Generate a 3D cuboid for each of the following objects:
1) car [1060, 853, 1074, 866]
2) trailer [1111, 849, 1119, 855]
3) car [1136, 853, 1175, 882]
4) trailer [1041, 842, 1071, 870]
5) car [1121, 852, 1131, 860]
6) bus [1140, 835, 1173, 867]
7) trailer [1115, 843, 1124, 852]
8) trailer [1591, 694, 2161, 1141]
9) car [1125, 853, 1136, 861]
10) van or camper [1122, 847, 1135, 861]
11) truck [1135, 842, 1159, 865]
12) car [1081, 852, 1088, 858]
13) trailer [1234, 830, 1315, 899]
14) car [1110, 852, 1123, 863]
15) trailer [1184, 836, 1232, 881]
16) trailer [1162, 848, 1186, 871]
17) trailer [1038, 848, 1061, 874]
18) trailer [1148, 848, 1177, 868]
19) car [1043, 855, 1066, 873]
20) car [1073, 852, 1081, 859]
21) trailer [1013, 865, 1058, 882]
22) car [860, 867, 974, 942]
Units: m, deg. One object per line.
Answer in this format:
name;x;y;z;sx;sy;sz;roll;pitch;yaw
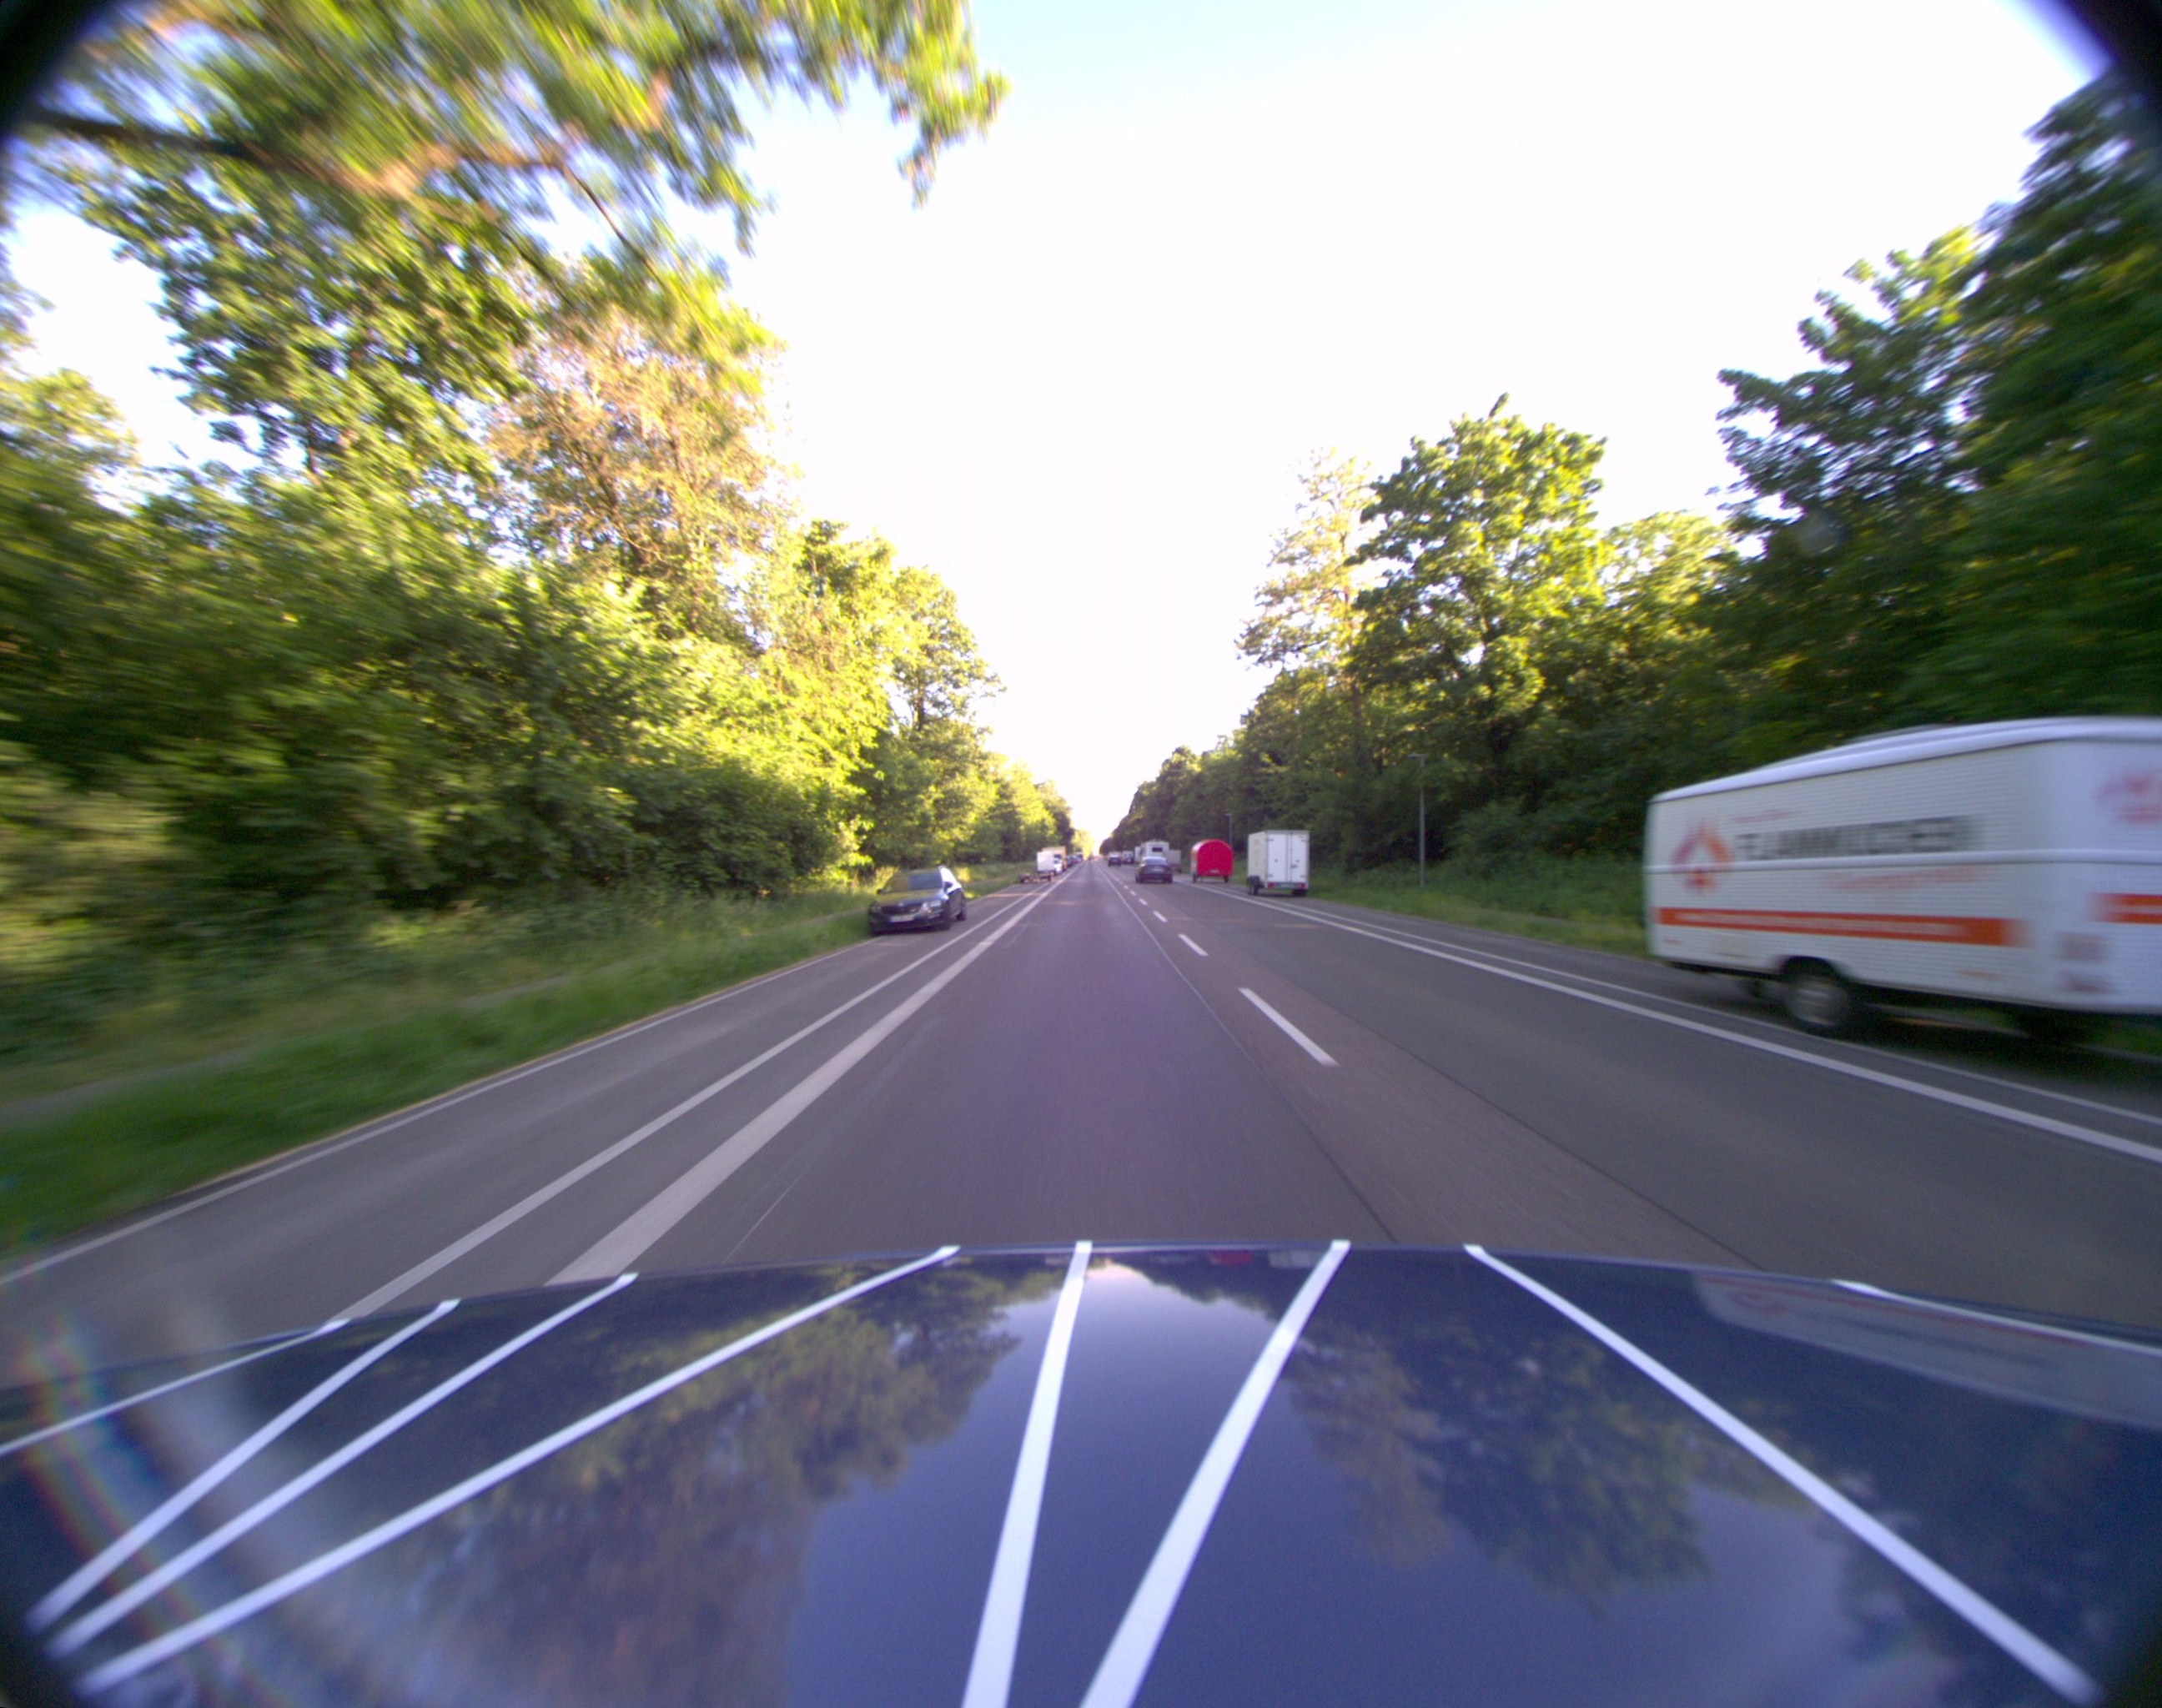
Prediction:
car;-1.912;0.729;105.128;1.804;1.681;4.601;-2;1;1
trailer;11.239;-0.761;250.567;2.306;1.972;4.000;-2;1;1
car;4.162;0.733;42.946;1.824;1.524;4.530;0;1;1
trailer;-2.783;0.193;86.702;2.928;2.825;9.881;-4;1;0
car;9.518;0.423;161.411;1.998;1.797;4.144;-2;0;1
bus;8.929;-0.396;90.822;2.835;3.411;11.199;-2;1;1
trailer;9.838;-1.638;195.294;1.998;2.227;4.000;-2;1;1
trailer;7.044;0.341;6.489;2.352;2.514;4.343;-1;0;-2
car;9.045;0.564;138.341;1.787;1.485;4.001;-1;0;5
van or camper;9.455;0.013;150.554;2.253;2.599;5.984;-1;0;1
truck;8.848;-0.067;102.095;2.488;2.807;8.424;-2;0;1
car;0.999;0.360;220.255;1.837;1.608;4.000;-2;0;1
trailer;7.350;0.389;29.205;2.072;2.466;3.560;-1;0;-2
car;5.329;0.523;114.041;1.823;1.577;4.459;0;1;1
trailer;7.356;0.240;44.378;2.072;2.466;3.560;-1;0;-2
trailer;8.337;0.465;68.358;1.857;2.002;3.561;1;0;2
trailer;-2.643;0.576;64.358;1.758;2.149;3.539;-1;0;0
trailer;8.738;0.413;82.066;2.434;1.903;6.264;-2;0;1
car;-2.399;0.892;70.297;1.892;1.459;4.569;-2;0;1
car;-0.890;0.377;178.032;1.837;1.608;4.000;-2;0;1
trailer;-2.897;1.241;49.457;2.439;0.794;5.659;-2;1;1
car;-3.834;1.119;18.628;1.839;1.412;4.596;-4;0;-2
